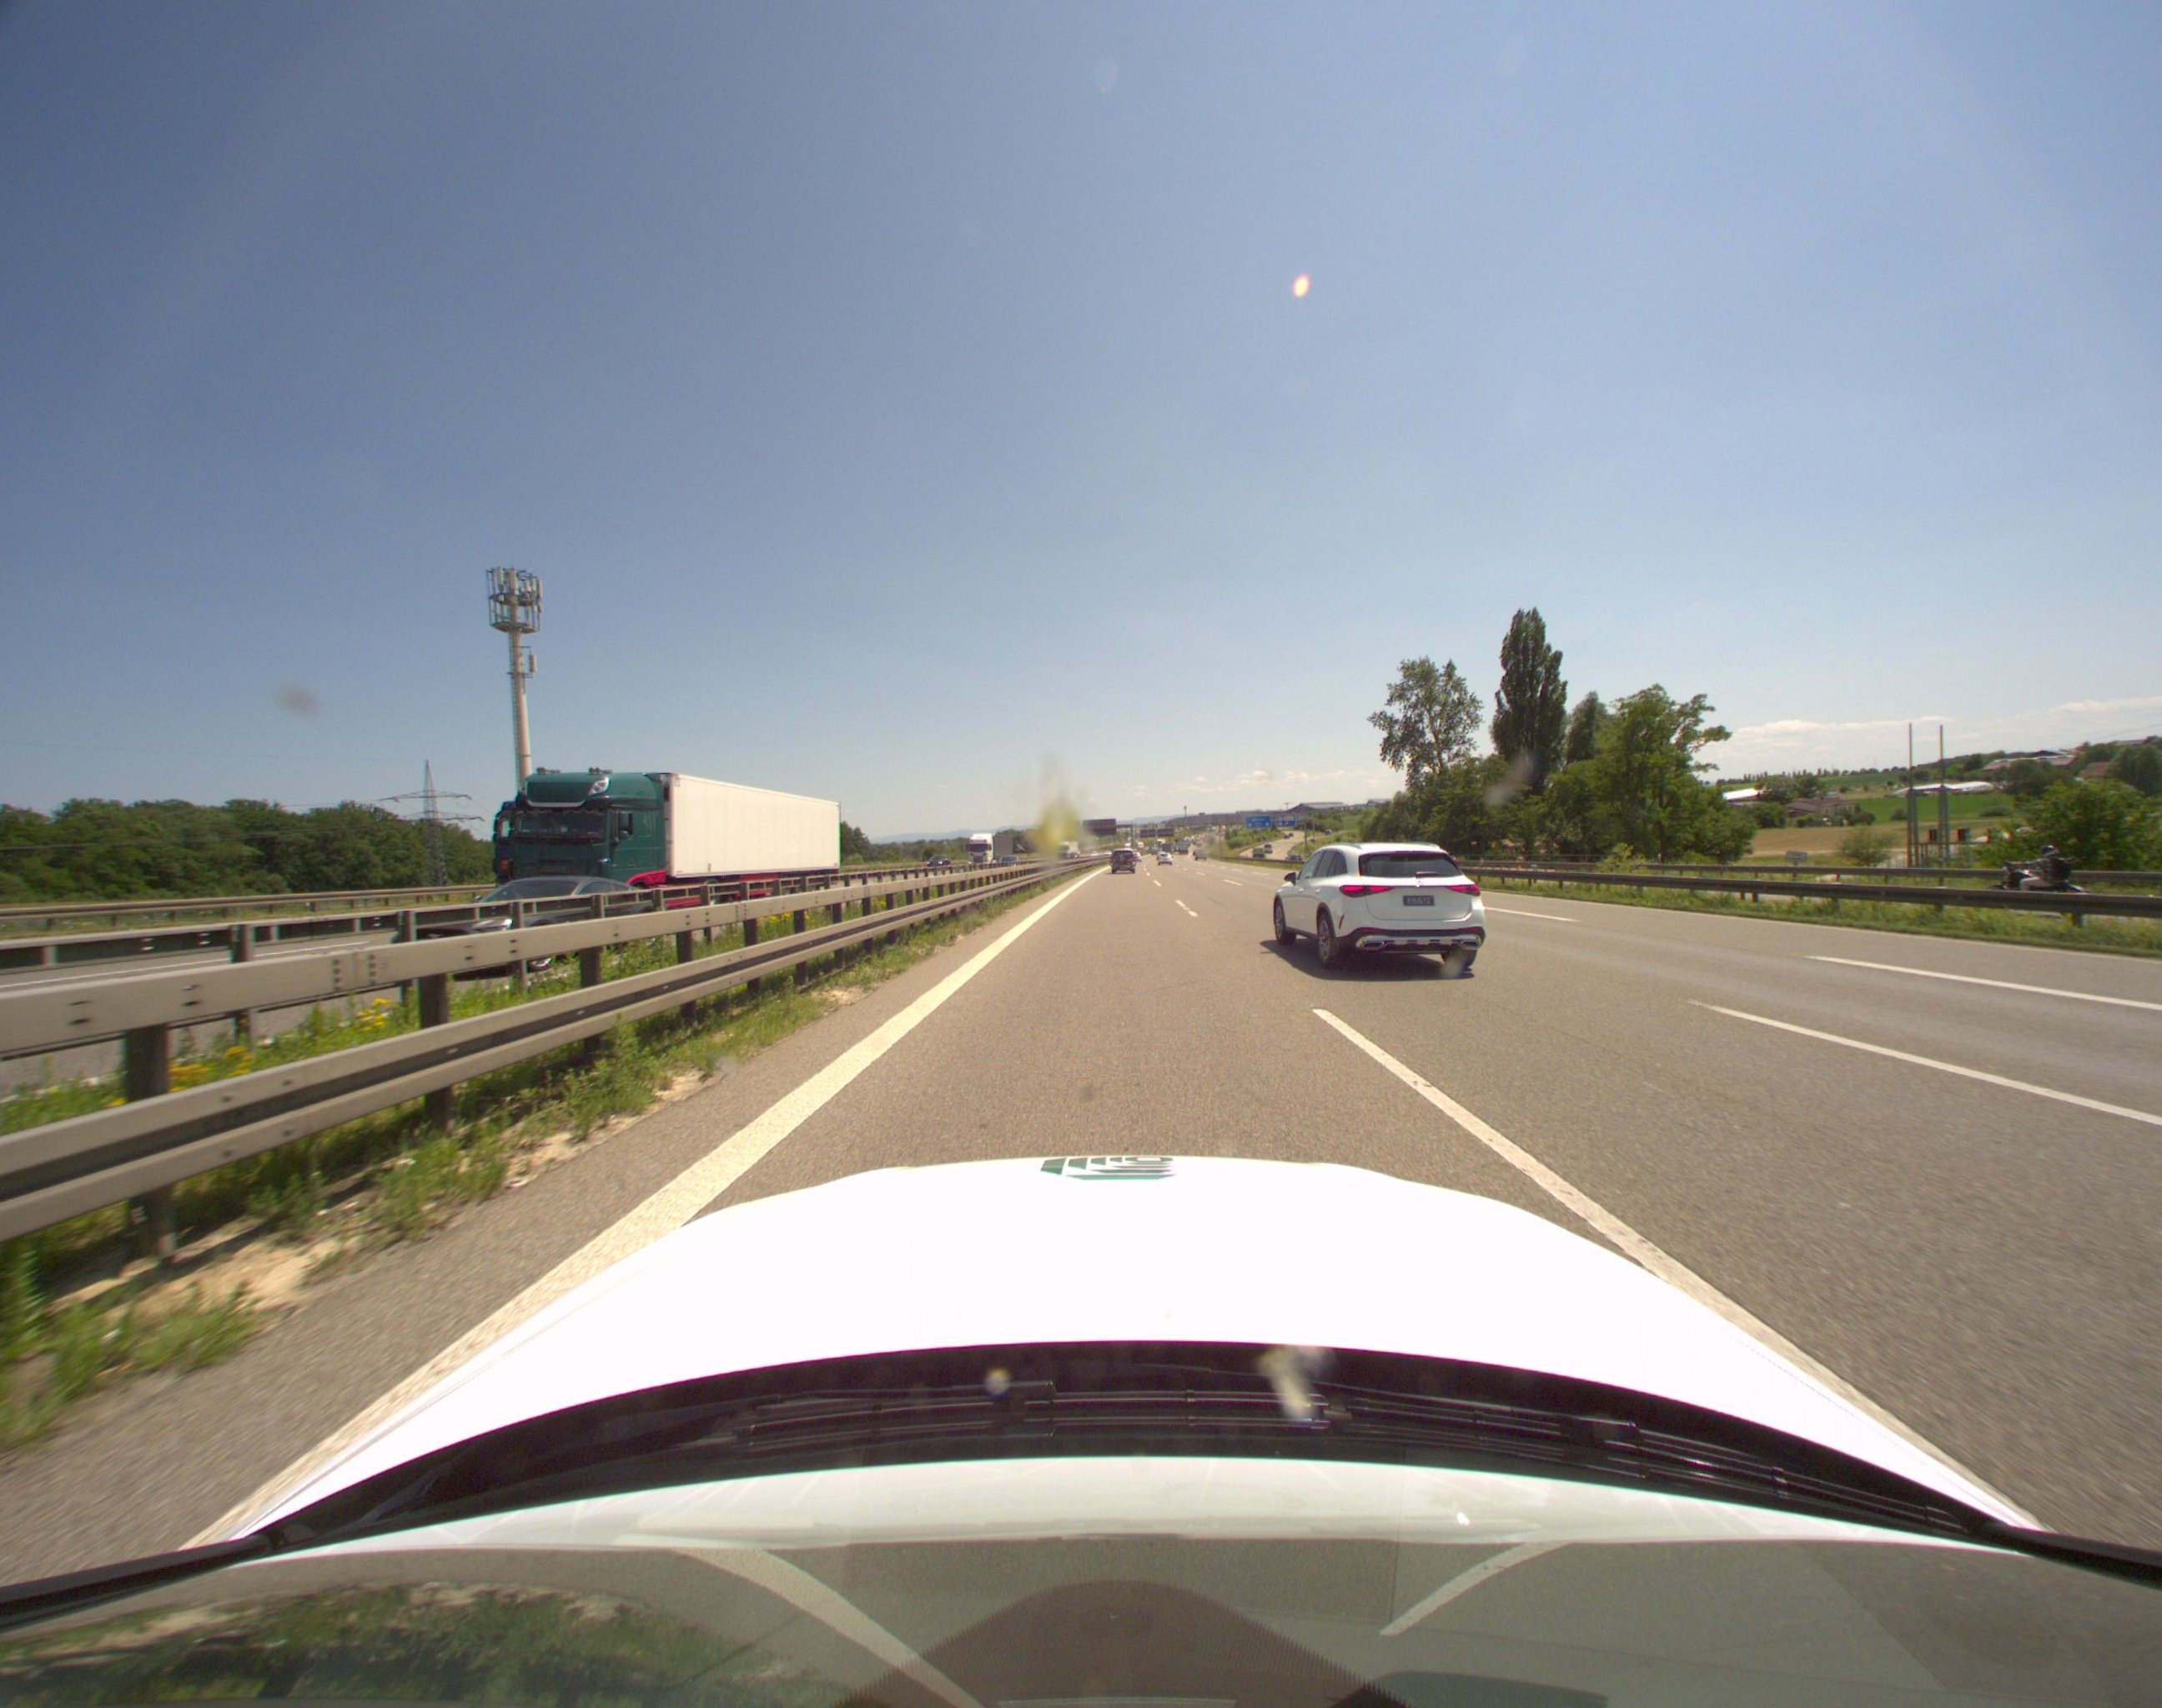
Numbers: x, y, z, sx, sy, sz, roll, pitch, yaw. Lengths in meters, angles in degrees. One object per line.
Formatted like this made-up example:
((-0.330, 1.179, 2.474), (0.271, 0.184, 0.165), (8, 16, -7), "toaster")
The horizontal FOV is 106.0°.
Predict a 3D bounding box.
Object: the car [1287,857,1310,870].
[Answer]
((28.299, 1.252, 106.194), (1.987, 1.596, 4.000), (-1, 0, 0), "car")

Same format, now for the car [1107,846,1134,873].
((3.000, 0.429, 61.622), (1.918, 1.919, 4.953), (-1, 0, 4), "car")

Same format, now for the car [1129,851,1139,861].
((8.627, 0.260, 131.768), (1.569, 1.552, 3.969), (-1, 0, 4), "car")

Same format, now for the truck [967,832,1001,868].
((-11.511, -0.445, 96.892), (2.868, 4.117, 6.390), (0, 0, 3), "truck")

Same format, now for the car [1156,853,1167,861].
((15.282, 0.527, 155.404), (1.973, 1.473, 4.005), (-1, 0, 4), "car")

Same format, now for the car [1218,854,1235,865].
((22.836, 0.861, 127.770), (1.987, 1.690, 4.000), (-1, 0, 0), "car")

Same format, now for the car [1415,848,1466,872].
((24.222, 0.409, 55.016), (1.693, 1.575, 4.130), (-1, 0, 2), "car")

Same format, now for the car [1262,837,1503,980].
((4.078, 0.649, 12.017), (1.890, 1.647, 5.001), (-1, 0, 2), "car")

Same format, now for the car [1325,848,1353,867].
((27.263, 0.343, 86.170), (1.930, 1.923, 4.183), (-1, 0, 4), "car")

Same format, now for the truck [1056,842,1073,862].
((-3.508, -0.486, 177.169), (3.020, 4.240, 6.694), (-1, 0, 5), "truck")

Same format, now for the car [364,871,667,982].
((-8.777, 1.027, 13.205), (1.798, 1.390, 4.293), (-1, 0, 2), "car")

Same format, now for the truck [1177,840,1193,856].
((30.388, -1.794, 237.448), (4.015, 4.261, 11.789), (-1, 2, 9), "truck")

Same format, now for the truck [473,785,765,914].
((-16.177, -0.149, 30.535), (3.206, 3.785, 12.906), (-1, 0, 2), "truck")

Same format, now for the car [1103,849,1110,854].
((7.218, -0.834, 231.497), (1.649, 1.403, 4.766), (-1, 0, 6), "car")

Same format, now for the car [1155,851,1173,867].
((10.145, 0.565, 99.754), (1.918, 1.919, 4.521), (-1, 0, 3), "car")

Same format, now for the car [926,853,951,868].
((-15.858, 0.697, 90.829), (1.870, 1.613, 4.003), (-1, 0, 3), "car")

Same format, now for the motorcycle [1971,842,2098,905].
((21.966, 0.432, 18.823), (0.757, 1.366, 1.870), (-1, 0, 2), "motorcycle")

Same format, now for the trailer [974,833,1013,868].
((-11.014, -0.442, 104.292), (2.878, 4.113, 12.597), (0, 0, 4), "trailer")

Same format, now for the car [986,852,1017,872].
((-6.576, 0.660, 67.959), (1.839, 1.597, 4.413), (0, 0, 3), "car")

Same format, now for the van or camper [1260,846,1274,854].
((46.351, -0.958, 202.739), (2.520, 2.014, 4.461), (-1, 0, 0), "van or camper")

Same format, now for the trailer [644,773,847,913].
((-12.136, -0.317, 31.062), (2.944, 4.372, 10.737), (-1, 0, 2), "trailer")

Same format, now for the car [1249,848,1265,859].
((32.346, -0.037, 149.798), (1.987, 2.014, 4.000), (-1, 0, 0), "car")

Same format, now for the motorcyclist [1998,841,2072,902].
((21.948, 0.396, 18.750), (0.666, 1.366, 0.879), (-1, -1, 2), "motorcyclist")

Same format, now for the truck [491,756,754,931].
((-12.423, -0.241, 23.161), (2.956, 4.120, 7.601), (-1, 0, 2), "truck")

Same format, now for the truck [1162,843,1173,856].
((22.647, -1.137, 212.918), (2.688, 3.108, 10.681), (-1, 0, 7), "truck")

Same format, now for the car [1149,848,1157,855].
((20.347, -0.661, 230.091), (2.176, 2.003, 4.005), (-1, 0, 5), "car")

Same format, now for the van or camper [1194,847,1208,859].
((20.767, -0.105, 140.814), (2.145, 2.014, 4.311), (-1, 0, 6), "van or camper")
